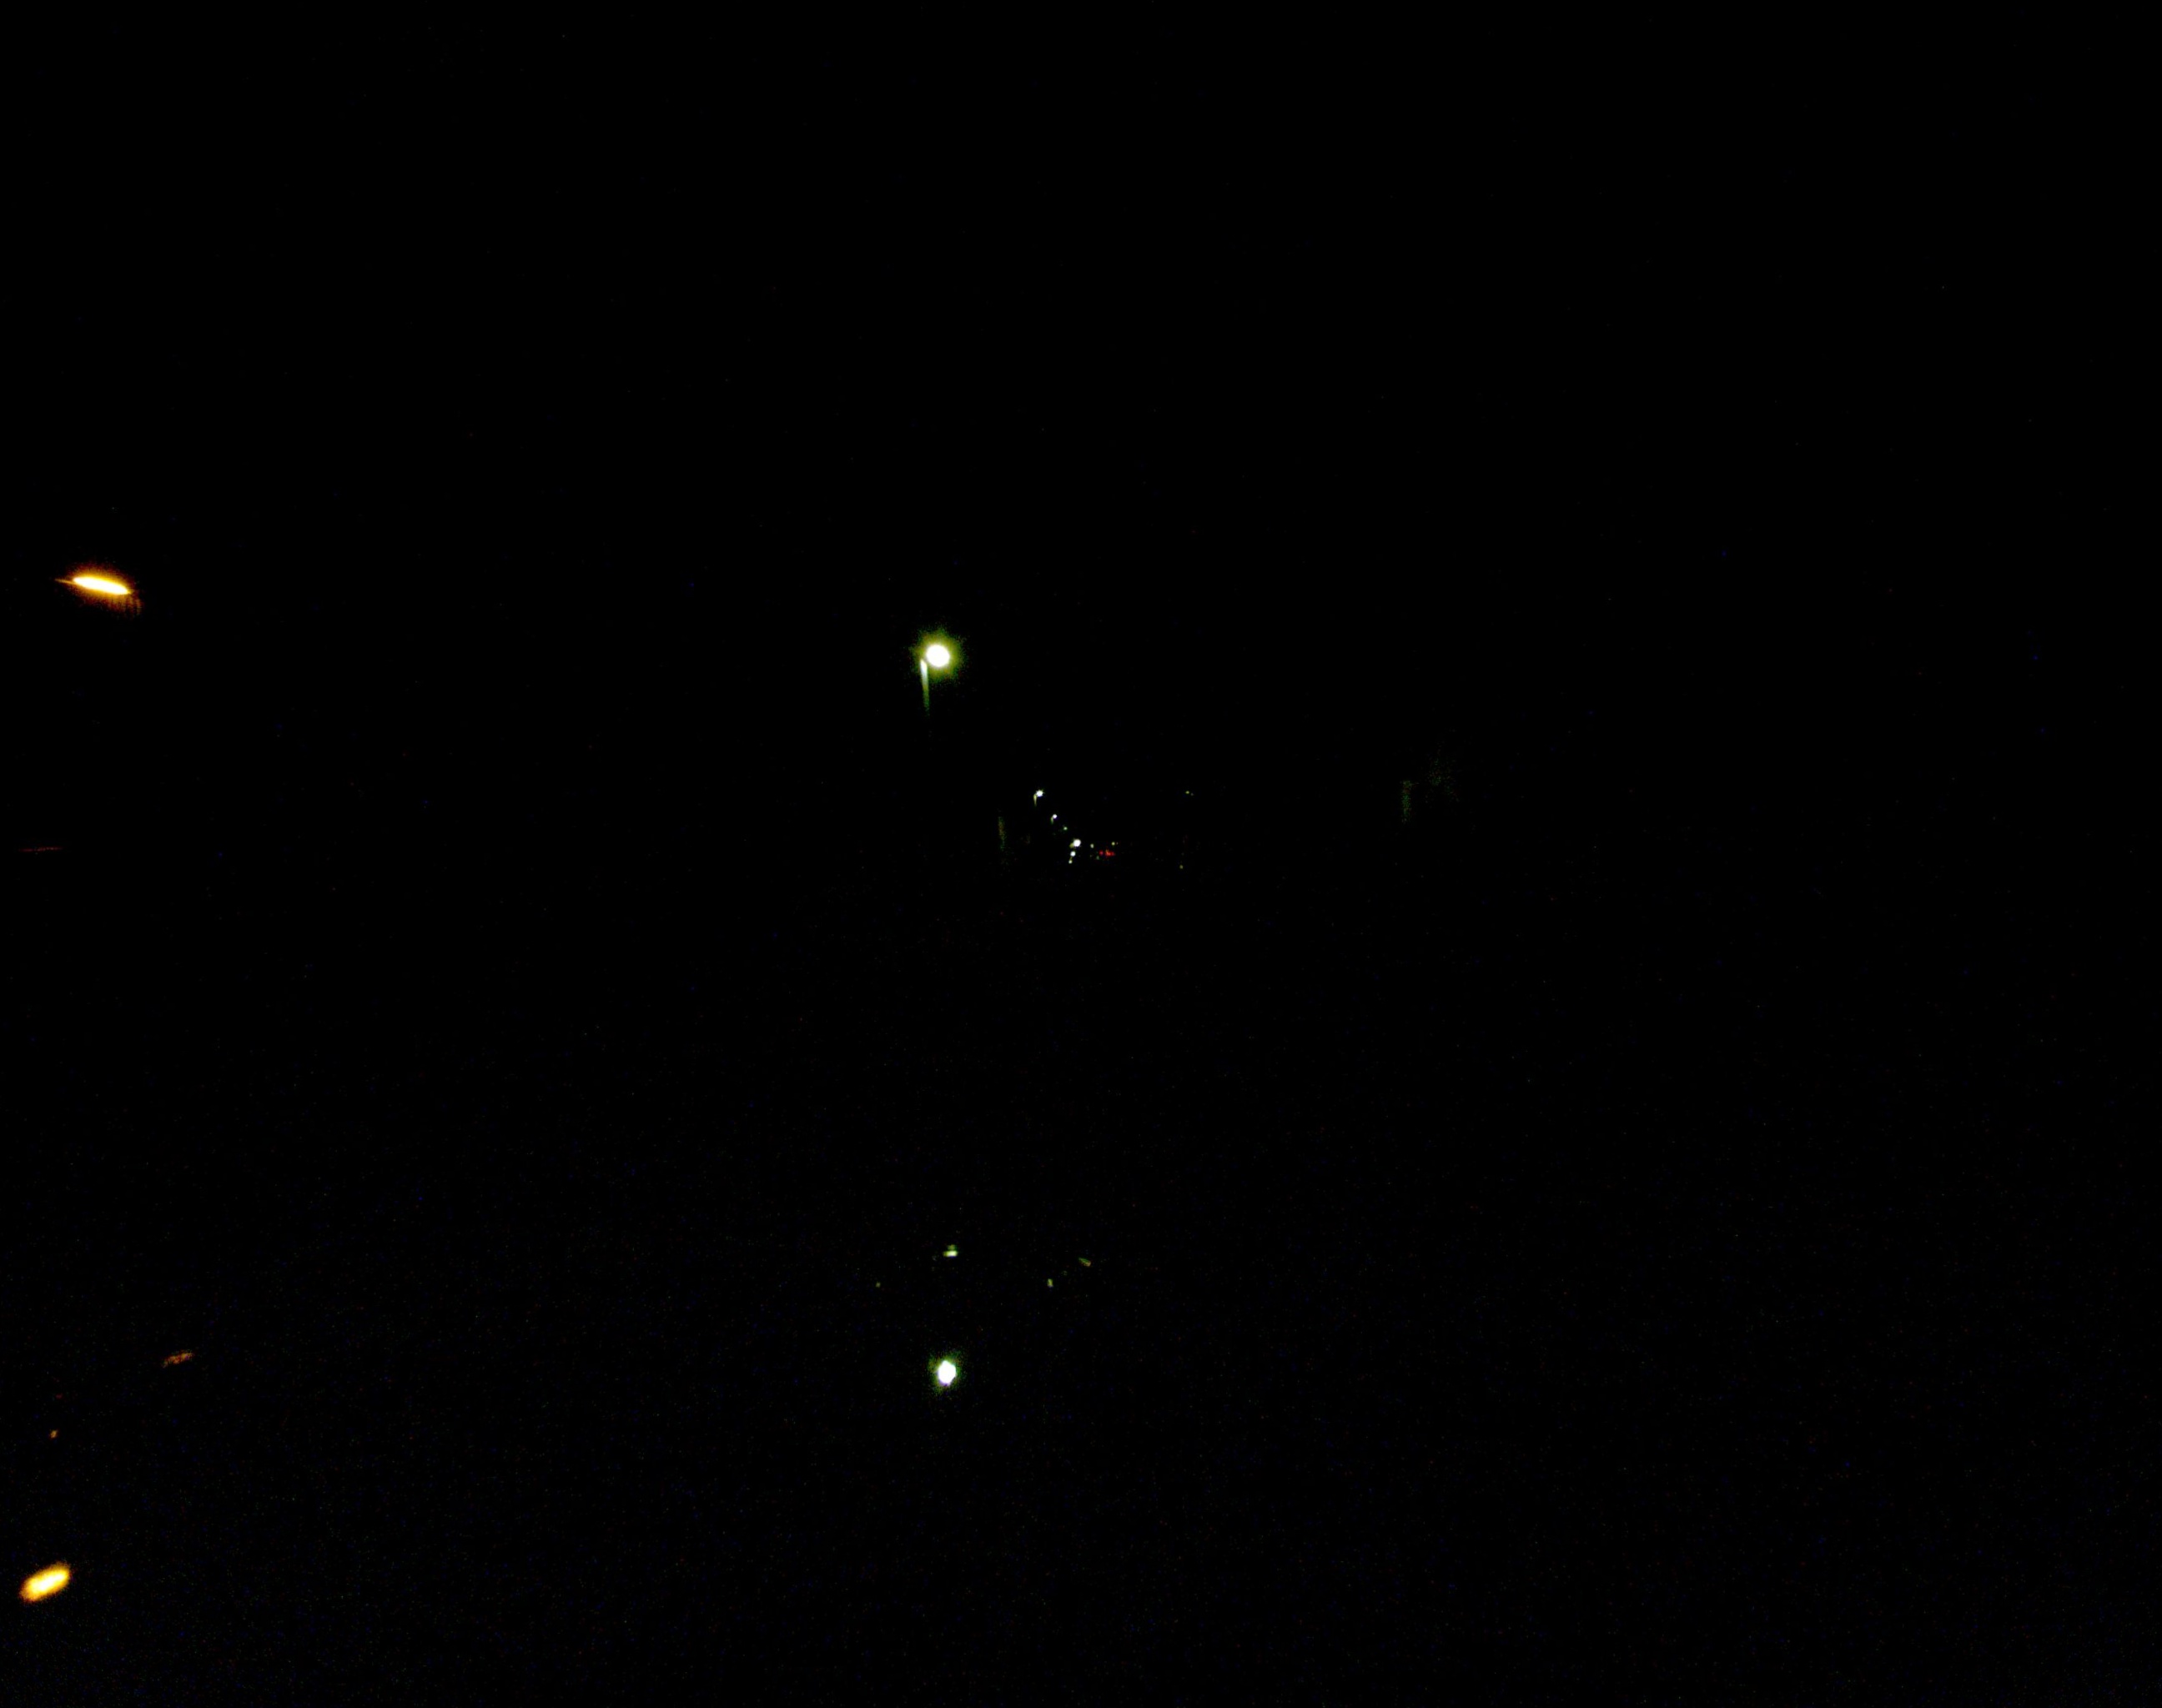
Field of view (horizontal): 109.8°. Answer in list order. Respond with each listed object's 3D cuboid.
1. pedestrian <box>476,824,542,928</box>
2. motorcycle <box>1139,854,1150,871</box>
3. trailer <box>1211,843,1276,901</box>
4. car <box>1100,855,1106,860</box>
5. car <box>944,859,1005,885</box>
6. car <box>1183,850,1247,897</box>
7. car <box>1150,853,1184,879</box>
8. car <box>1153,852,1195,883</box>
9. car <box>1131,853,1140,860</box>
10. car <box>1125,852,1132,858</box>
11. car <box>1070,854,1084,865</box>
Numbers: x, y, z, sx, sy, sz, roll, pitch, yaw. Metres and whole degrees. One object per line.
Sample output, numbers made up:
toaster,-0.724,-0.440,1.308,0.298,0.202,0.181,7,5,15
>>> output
pedestrian,-10.948,0.412,14.566,0.647,1.926,0.773,-1,0,1
motorcycle,5.528,0.703,66.317,0.747,1.443,2.197,-3,0,9
trailer,5.315,0.548,25.135,1.451,1.678,3.426,-5,0,3
car,6.209,0.927,212.484,1.606,1.474,3.699,-2,0,1
car,-7.145,1.189,51.066,3.720,1.464,1.731,-3,1,3
car,4.943,0.698,28.361,1.675,1.513,2.978,-5,0,-1
car,5.434,0.718,48.434,1.692,1.501,4.279,-3,0,1
car,5.079,0.692,42.064,1.771,1.510,4.278,-4,0,1
car,11.713,0.527,164.171,1.900,1.411,4.932,-4,0,4
car,13.610,0.353,218.007,1.814,1.637,3.804,-4,0,3
car,-0.588,0.825,110.892,1.747,1.560,4.209,-2,0,2
